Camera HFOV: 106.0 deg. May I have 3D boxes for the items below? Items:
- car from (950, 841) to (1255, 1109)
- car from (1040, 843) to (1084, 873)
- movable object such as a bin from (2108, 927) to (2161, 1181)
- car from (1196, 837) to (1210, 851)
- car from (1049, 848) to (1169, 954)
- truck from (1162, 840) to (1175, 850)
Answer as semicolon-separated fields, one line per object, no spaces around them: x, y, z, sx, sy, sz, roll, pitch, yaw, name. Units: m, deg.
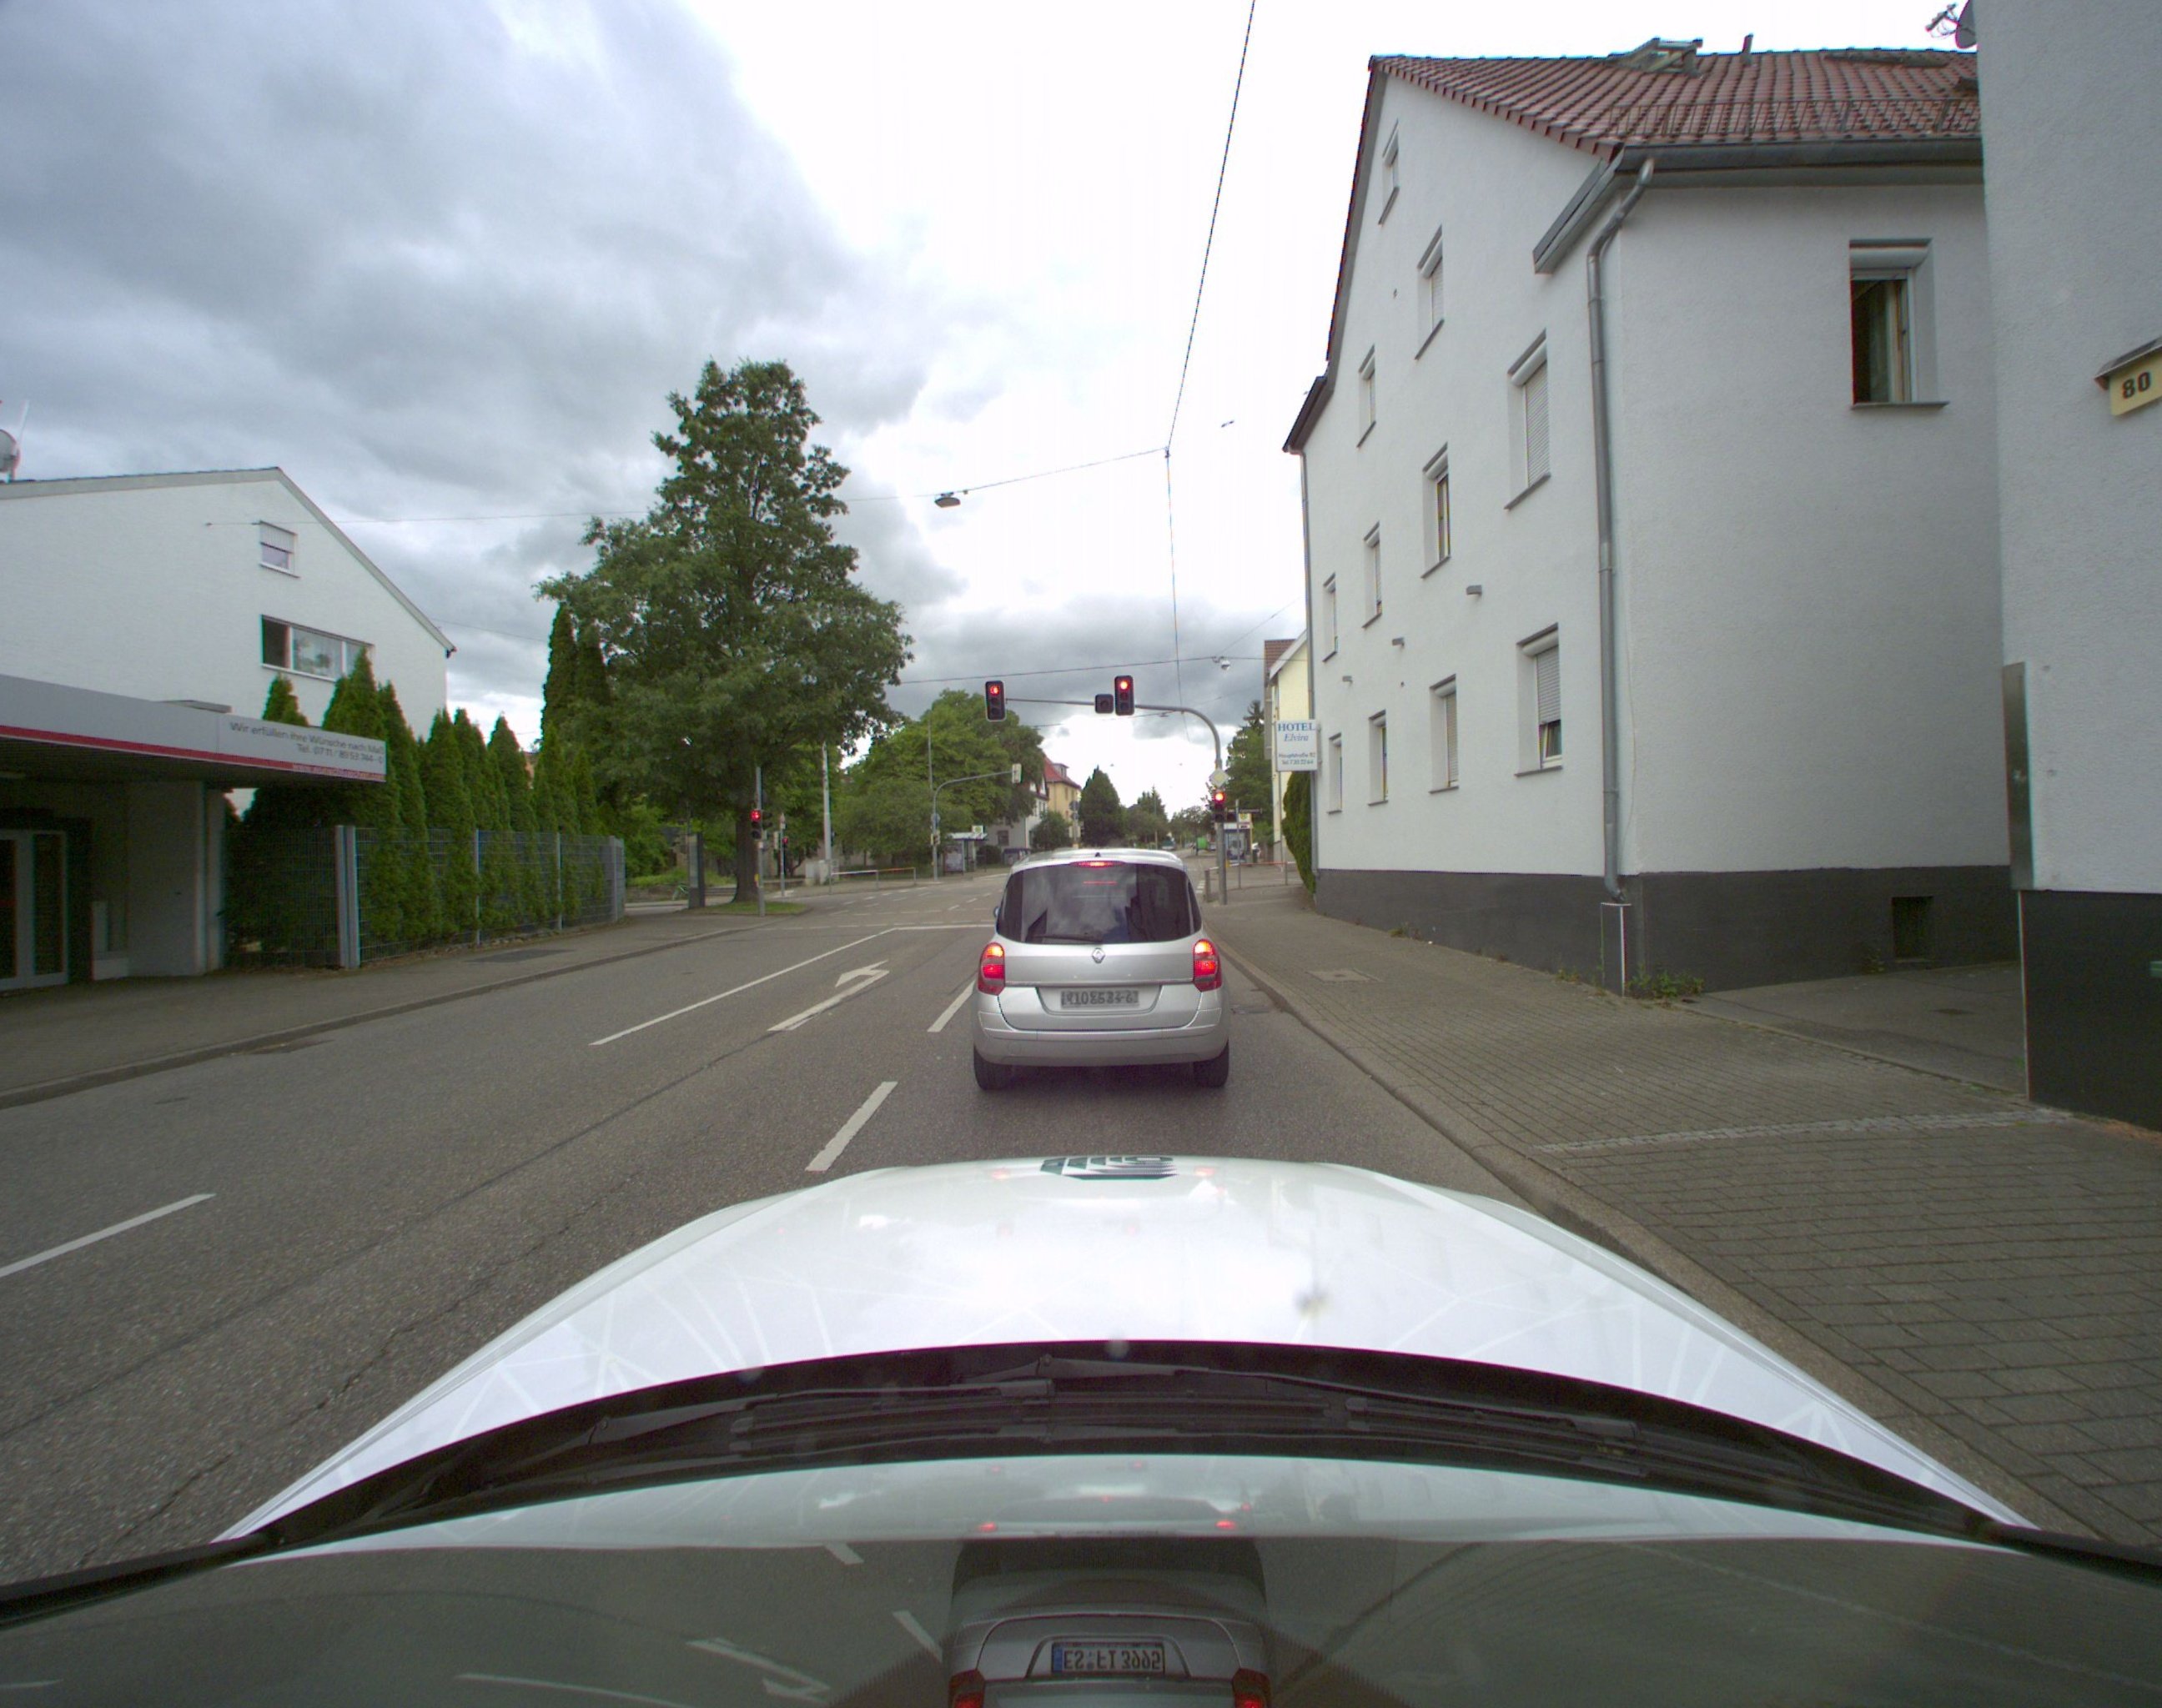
0.175;0.708;6.729;1.748;1.530;4.001;-1;0;1;car
-1.215;0.248;54.463;1.913;1.773;4.013;-6;-1;12;car
4.328;0.752;2.948;0.538;0.941;0.487;-4;-1;2;movable object such as a bin
21.828;-1.786;145.667;2.044;2.512;5.616;-1;0;14;car
0.458;0.690;13.823;1.748;1.530;3.798;-1;0;1;car
17.917;-1.780;166.439;2.088;2.013;5.766;-1;0;11;truck
